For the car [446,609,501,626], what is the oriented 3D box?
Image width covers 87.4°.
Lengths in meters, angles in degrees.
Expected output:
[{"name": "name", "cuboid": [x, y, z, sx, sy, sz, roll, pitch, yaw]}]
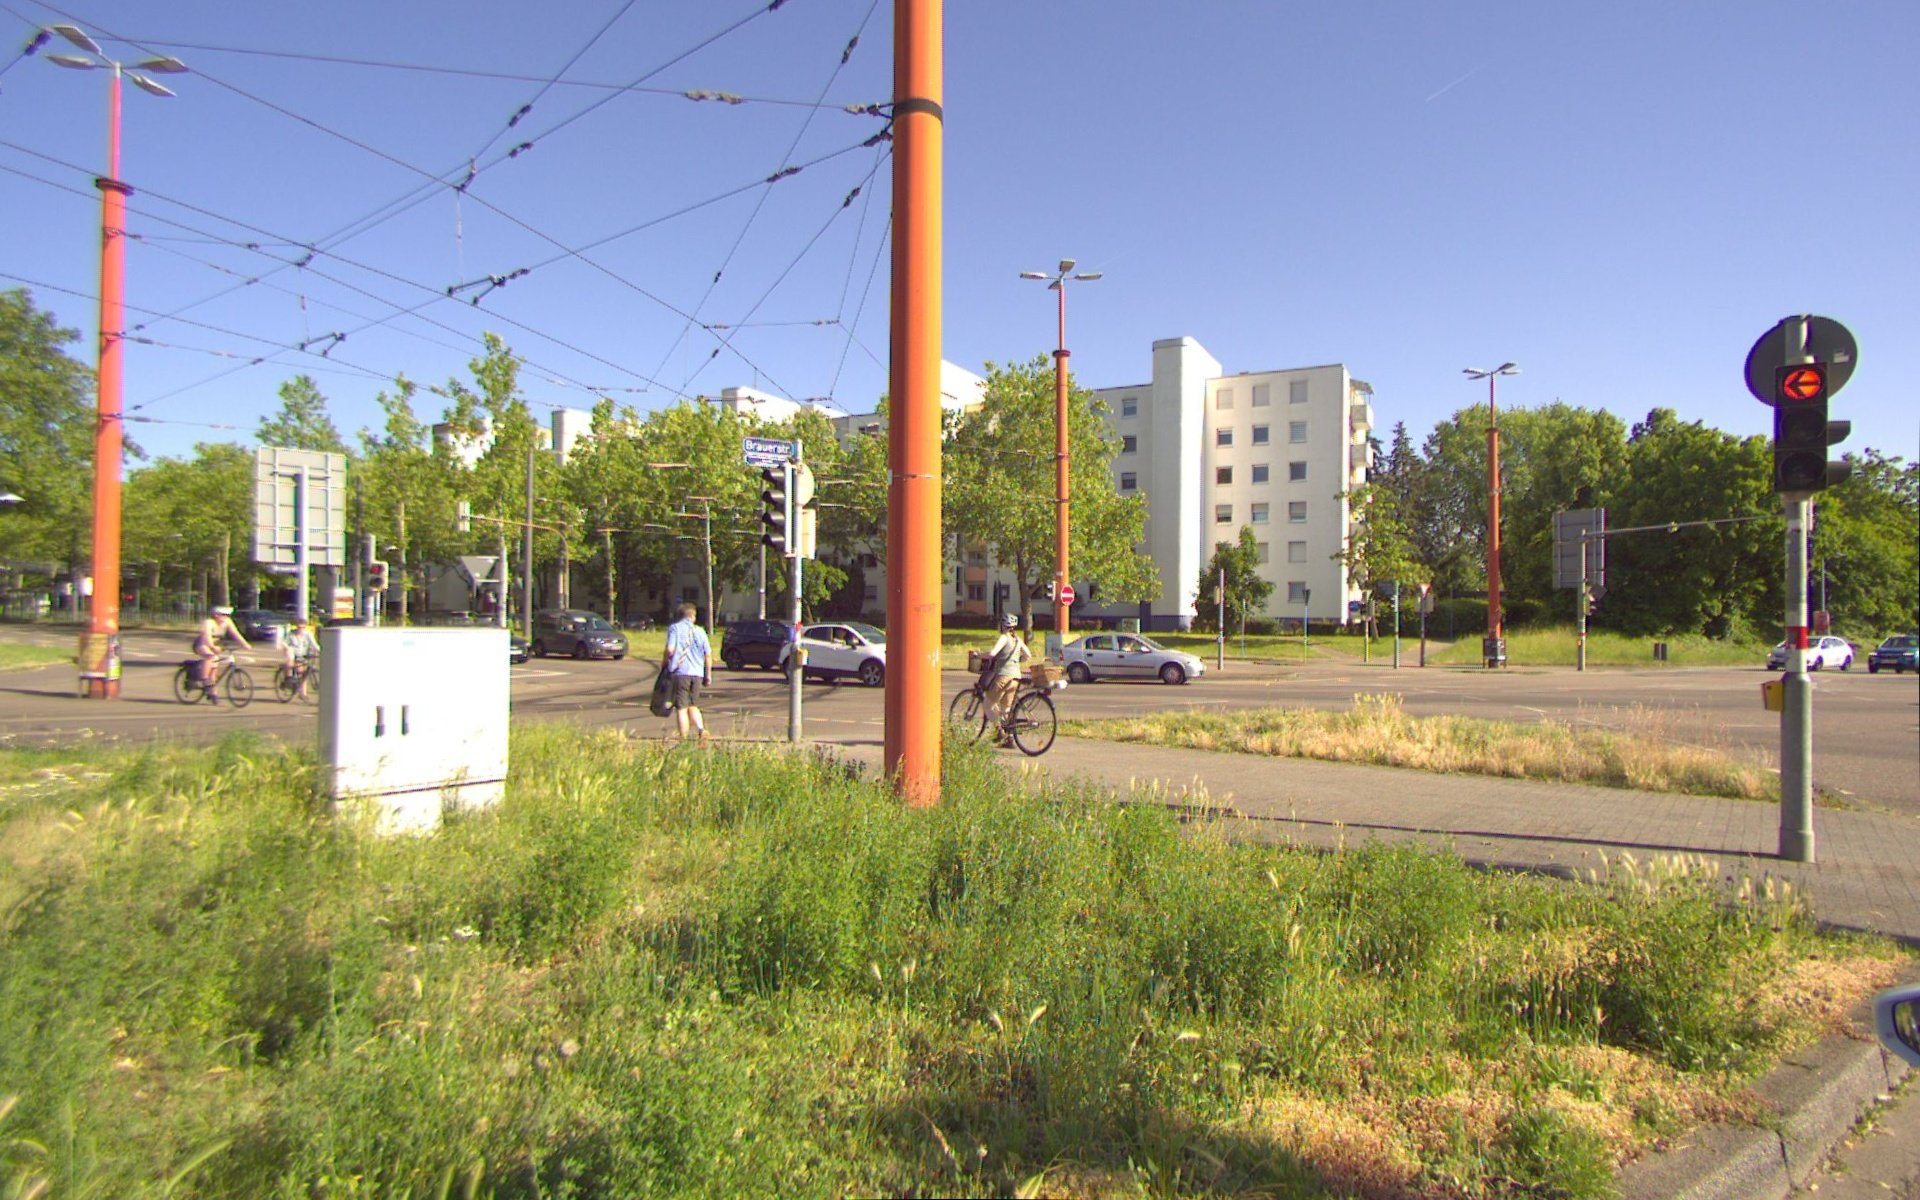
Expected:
[{"name": "car", "cuboid": [-41.437, 1.483, 85.625, 3.935, 1.428, 1.794, 1, -1, -17]}]

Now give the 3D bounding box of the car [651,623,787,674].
[{"name": "car", "cuboid": [-8.076, 1.594, 33.686, 4.182, 1.566, 1.857, 0, -1, 25]}]

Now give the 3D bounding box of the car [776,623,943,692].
[{"name": "car", "cuboid": [-2.713, 1.476, 26.878, 4.178, 1.658, 1.825, 0, -1, 31]}]

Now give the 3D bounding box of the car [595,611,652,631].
[{"name": "car", "cuboid": [-24.999, 1.555, 74.696, 3.934, 1.428, 1.794, 1, -1, -16]}]

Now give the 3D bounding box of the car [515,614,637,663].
[{"name": "car", "cuboid": [-14.388, 1.396, 37.618, 4.226, 1.730, 1.850, 0, -1, 25]}]

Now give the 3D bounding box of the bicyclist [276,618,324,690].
[{"name": "bicyclist", "cuboid": [-13.096, 1.071, 19.936, 0.616, 1.399, 0.443, 1, -1, -1]}]

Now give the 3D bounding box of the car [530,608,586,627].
[{"name": "car", "cuboid": [-31.941, 1.367, 79.972, 3.935, 1.428, 1.794, 1, -1, -17]}]

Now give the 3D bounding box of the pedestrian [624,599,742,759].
[{"name": "pedestrian", "cuboid": [-3.322, 0.908, 12.063, 0.973, 1.817, 0.951, 0, -1, 38]}]

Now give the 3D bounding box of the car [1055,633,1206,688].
[{"name": "car", "cuboid": [4.732, 1.641, 27.850, 3.922, 1.363, 1.487, 0, -1, 21]}]

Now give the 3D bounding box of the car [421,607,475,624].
[{"name": "car", "cuboid": [-44.792, 1.385, 87.896, 3.935, 1.428, 1.794, 1, -1, -17]}]

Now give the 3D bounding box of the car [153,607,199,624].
[{"name": "car", "cuboid": [-93.991, 1.876, 120.456, 1.969, 2.040, 3.984, 0, -1, 38]}]

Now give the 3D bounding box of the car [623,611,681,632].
[{"name": "car", "cuboid": [-22.258, 1.546, 72.646, 3.934, 1.428, 1.794, 1, -1, -16]}]

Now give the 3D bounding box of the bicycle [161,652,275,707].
[{"name": "bicycle", "cuboid": [-13.956, 1.488, 18.922, 1.612, 0.974, 0.685, 1, -1, -1]}]

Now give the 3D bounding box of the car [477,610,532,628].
[{"name": "car", "cuboid": [-38.034, 1.565, 83.884, 3.935, 1.428, 1.794, 1, -1, -17]}]

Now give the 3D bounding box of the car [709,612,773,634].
[{"name": "car", "cuboid": [-14.545, 1.550, 66.842, 1.770, 1.428, 3.987, 0, -1, 35]}]

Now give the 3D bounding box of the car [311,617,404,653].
[{"name": "car", "cuboid": [-24.767, 1.407, 41.261, 4.292, 1.368, 1.759, 0, -1, 36]}]

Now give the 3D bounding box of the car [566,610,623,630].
[{"name": "car", "cuboid": [-27.580, 1.484, 75.921, 3.934, 1.428, 1.794, 1, -1, -16]}]

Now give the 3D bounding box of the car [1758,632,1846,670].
[{"name": "car", "cuboid": [35.969, 2.159, 42.888, 3.891, 1.552, 1.752, 1, -1, -31]}]

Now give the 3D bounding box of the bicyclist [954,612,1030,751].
[{"name": "bicyclist", "cuboid": [0.390, 0.956, 12.143, 0.651, 1.605, 0.671, 0, -1, 33]}]

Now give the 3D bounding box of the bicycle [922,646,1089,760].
[{"name": "bicycle", "cuboid": [0.530, 1.188, 12.034, 1.915, 1.210, 0.690, 0, -1, 33]}]

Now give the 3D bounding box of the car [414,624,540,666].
[{"name": "car", "cuboid": [-16.899, 1.534, 35.093, 4.282, 1.368, 1.763, 0, -1, 28]}]

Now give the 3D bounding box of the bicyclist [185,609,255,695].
[{"name": "bicyclist", "cuboid": [-13.922, 0.968, 18.914, 0.752, 1.565, 0.732, 1, -1, -1]}]

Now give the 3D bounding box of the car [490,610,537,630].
[{"name": "car", "cuboid": [-32.954, 1.461, 74.130, 3.943, 1.416, 1.747, 0, -1, 43]}]

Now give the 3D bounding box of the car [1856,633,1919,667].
[{"name": "car", "cuboid": [37.153, 1.963, 39.621, 3.571, 1.260, 1.730, 1, -1, -31]}]

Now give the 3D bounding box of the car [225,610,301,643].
[{"name": "car", "cuboid": [-37.028, 1.389, 53.355, 4.233, 1.730, 1.847, 0, -1, 33]}]
